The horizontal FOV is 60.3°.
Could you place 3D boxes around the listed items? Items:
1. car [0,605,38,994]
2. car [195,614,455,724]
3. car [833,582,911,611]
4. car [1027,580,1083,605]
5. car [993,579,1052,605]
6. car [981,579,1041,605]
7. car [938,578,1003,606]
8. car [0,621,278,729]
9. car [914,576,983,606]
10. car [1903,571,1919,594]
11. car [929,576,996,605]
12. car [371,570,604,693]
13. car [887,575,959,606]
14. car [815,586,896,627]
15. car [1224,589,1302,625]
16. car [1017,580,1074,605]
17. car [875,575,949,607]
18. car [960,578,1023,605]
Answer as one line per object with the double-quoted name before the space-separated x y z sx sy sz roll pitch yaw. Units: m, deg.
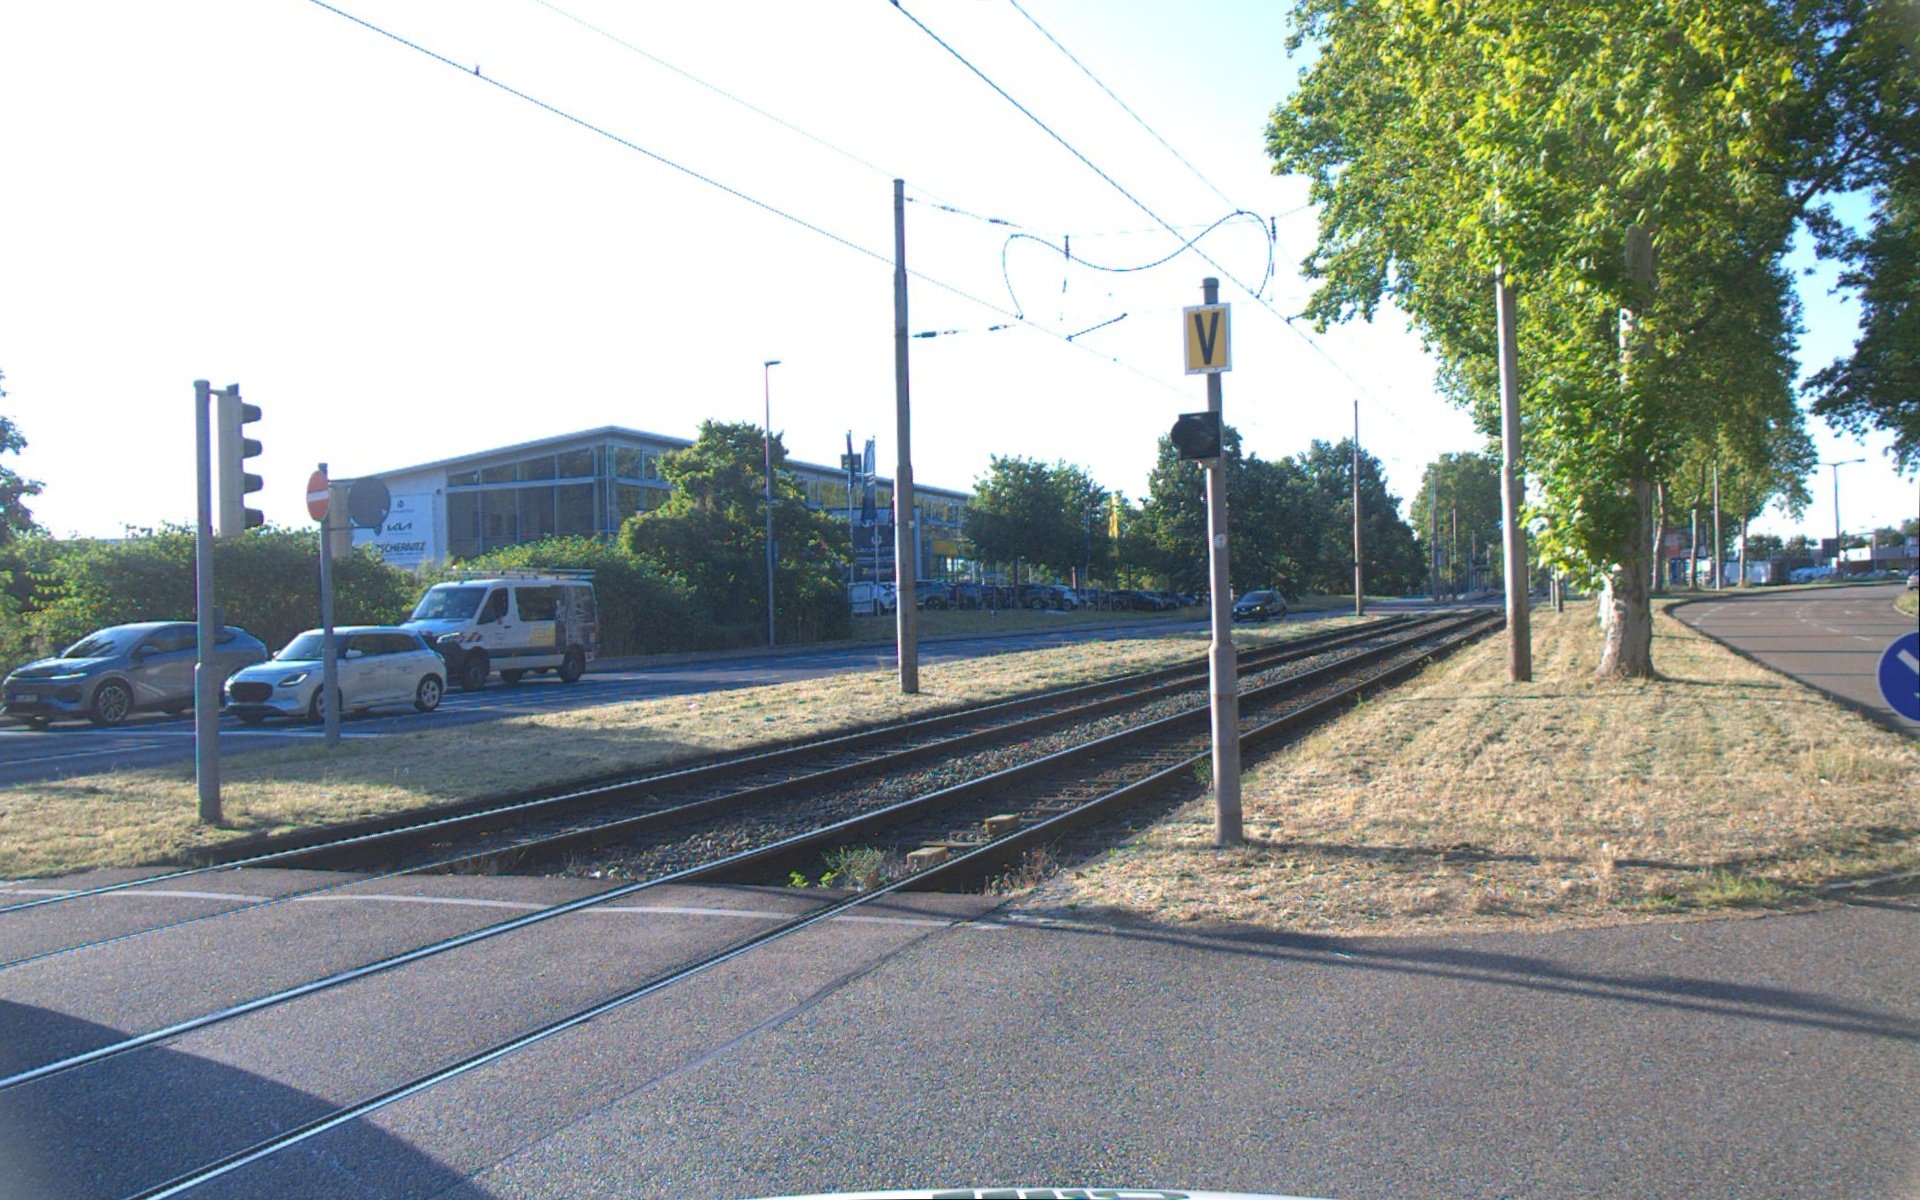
"car" -6.092 0.839 7.028 4.162 1.583 1.828 -1 0 28
"car" -10.508 1.095 27.672 1.832 1.646 4.000 -1 0 22
"car" -4.375 -0.173 82.322 3.708 1.412 1.760 -1 0 2
"car" 6.386 -0.512 111.357 3.708 1.594 1.760 -1 0 2
"car" 3.998 -0.500 105.679 3.708 1.594 1.760 -1 0 2
"car" 3.192 -0.498 102.980 3.708 1.594 1.760 -1 0 2
"car" 0.648 -0.484 97.130 3.708 1.594 1.760 -1 0 2
"car" -14.303 1.235 28.836 1.831 1.646 4.548 -1 0 21
"car" -0.611 -0.485 91.345 3.708 1.594 1.760 -1 0 2
"car" 65.100 -1.188 111.010 3.963 1.467 1.971 -1 0 -40
"car" 0.145 -0.517 94.347 3.708 1.594 1.760 -1 0 2
"car" -10.718 0.669 38.112 1.962 2.611 5.876 -1 0 22
"car" -1.972 -0.477 88.543 3.708 1.594 1.760 -1 0 2
"car" -4.990 0.293 79.226 3.708 1.892 1.760 -1 0 2
"car" 15.068 0.328 82.290 3.967 1.713 1.786 -1 0 -42
"car" 5.599 -0.510 108.666 3.708 1.594 1.760 -1 0 2
"car" -2.485 -0.478 86.065 3.708 1.594 1.760 -1 0 2
"car" 1.912 -0.491 99.841 3.708 1.594 1.760 -1 0 2
